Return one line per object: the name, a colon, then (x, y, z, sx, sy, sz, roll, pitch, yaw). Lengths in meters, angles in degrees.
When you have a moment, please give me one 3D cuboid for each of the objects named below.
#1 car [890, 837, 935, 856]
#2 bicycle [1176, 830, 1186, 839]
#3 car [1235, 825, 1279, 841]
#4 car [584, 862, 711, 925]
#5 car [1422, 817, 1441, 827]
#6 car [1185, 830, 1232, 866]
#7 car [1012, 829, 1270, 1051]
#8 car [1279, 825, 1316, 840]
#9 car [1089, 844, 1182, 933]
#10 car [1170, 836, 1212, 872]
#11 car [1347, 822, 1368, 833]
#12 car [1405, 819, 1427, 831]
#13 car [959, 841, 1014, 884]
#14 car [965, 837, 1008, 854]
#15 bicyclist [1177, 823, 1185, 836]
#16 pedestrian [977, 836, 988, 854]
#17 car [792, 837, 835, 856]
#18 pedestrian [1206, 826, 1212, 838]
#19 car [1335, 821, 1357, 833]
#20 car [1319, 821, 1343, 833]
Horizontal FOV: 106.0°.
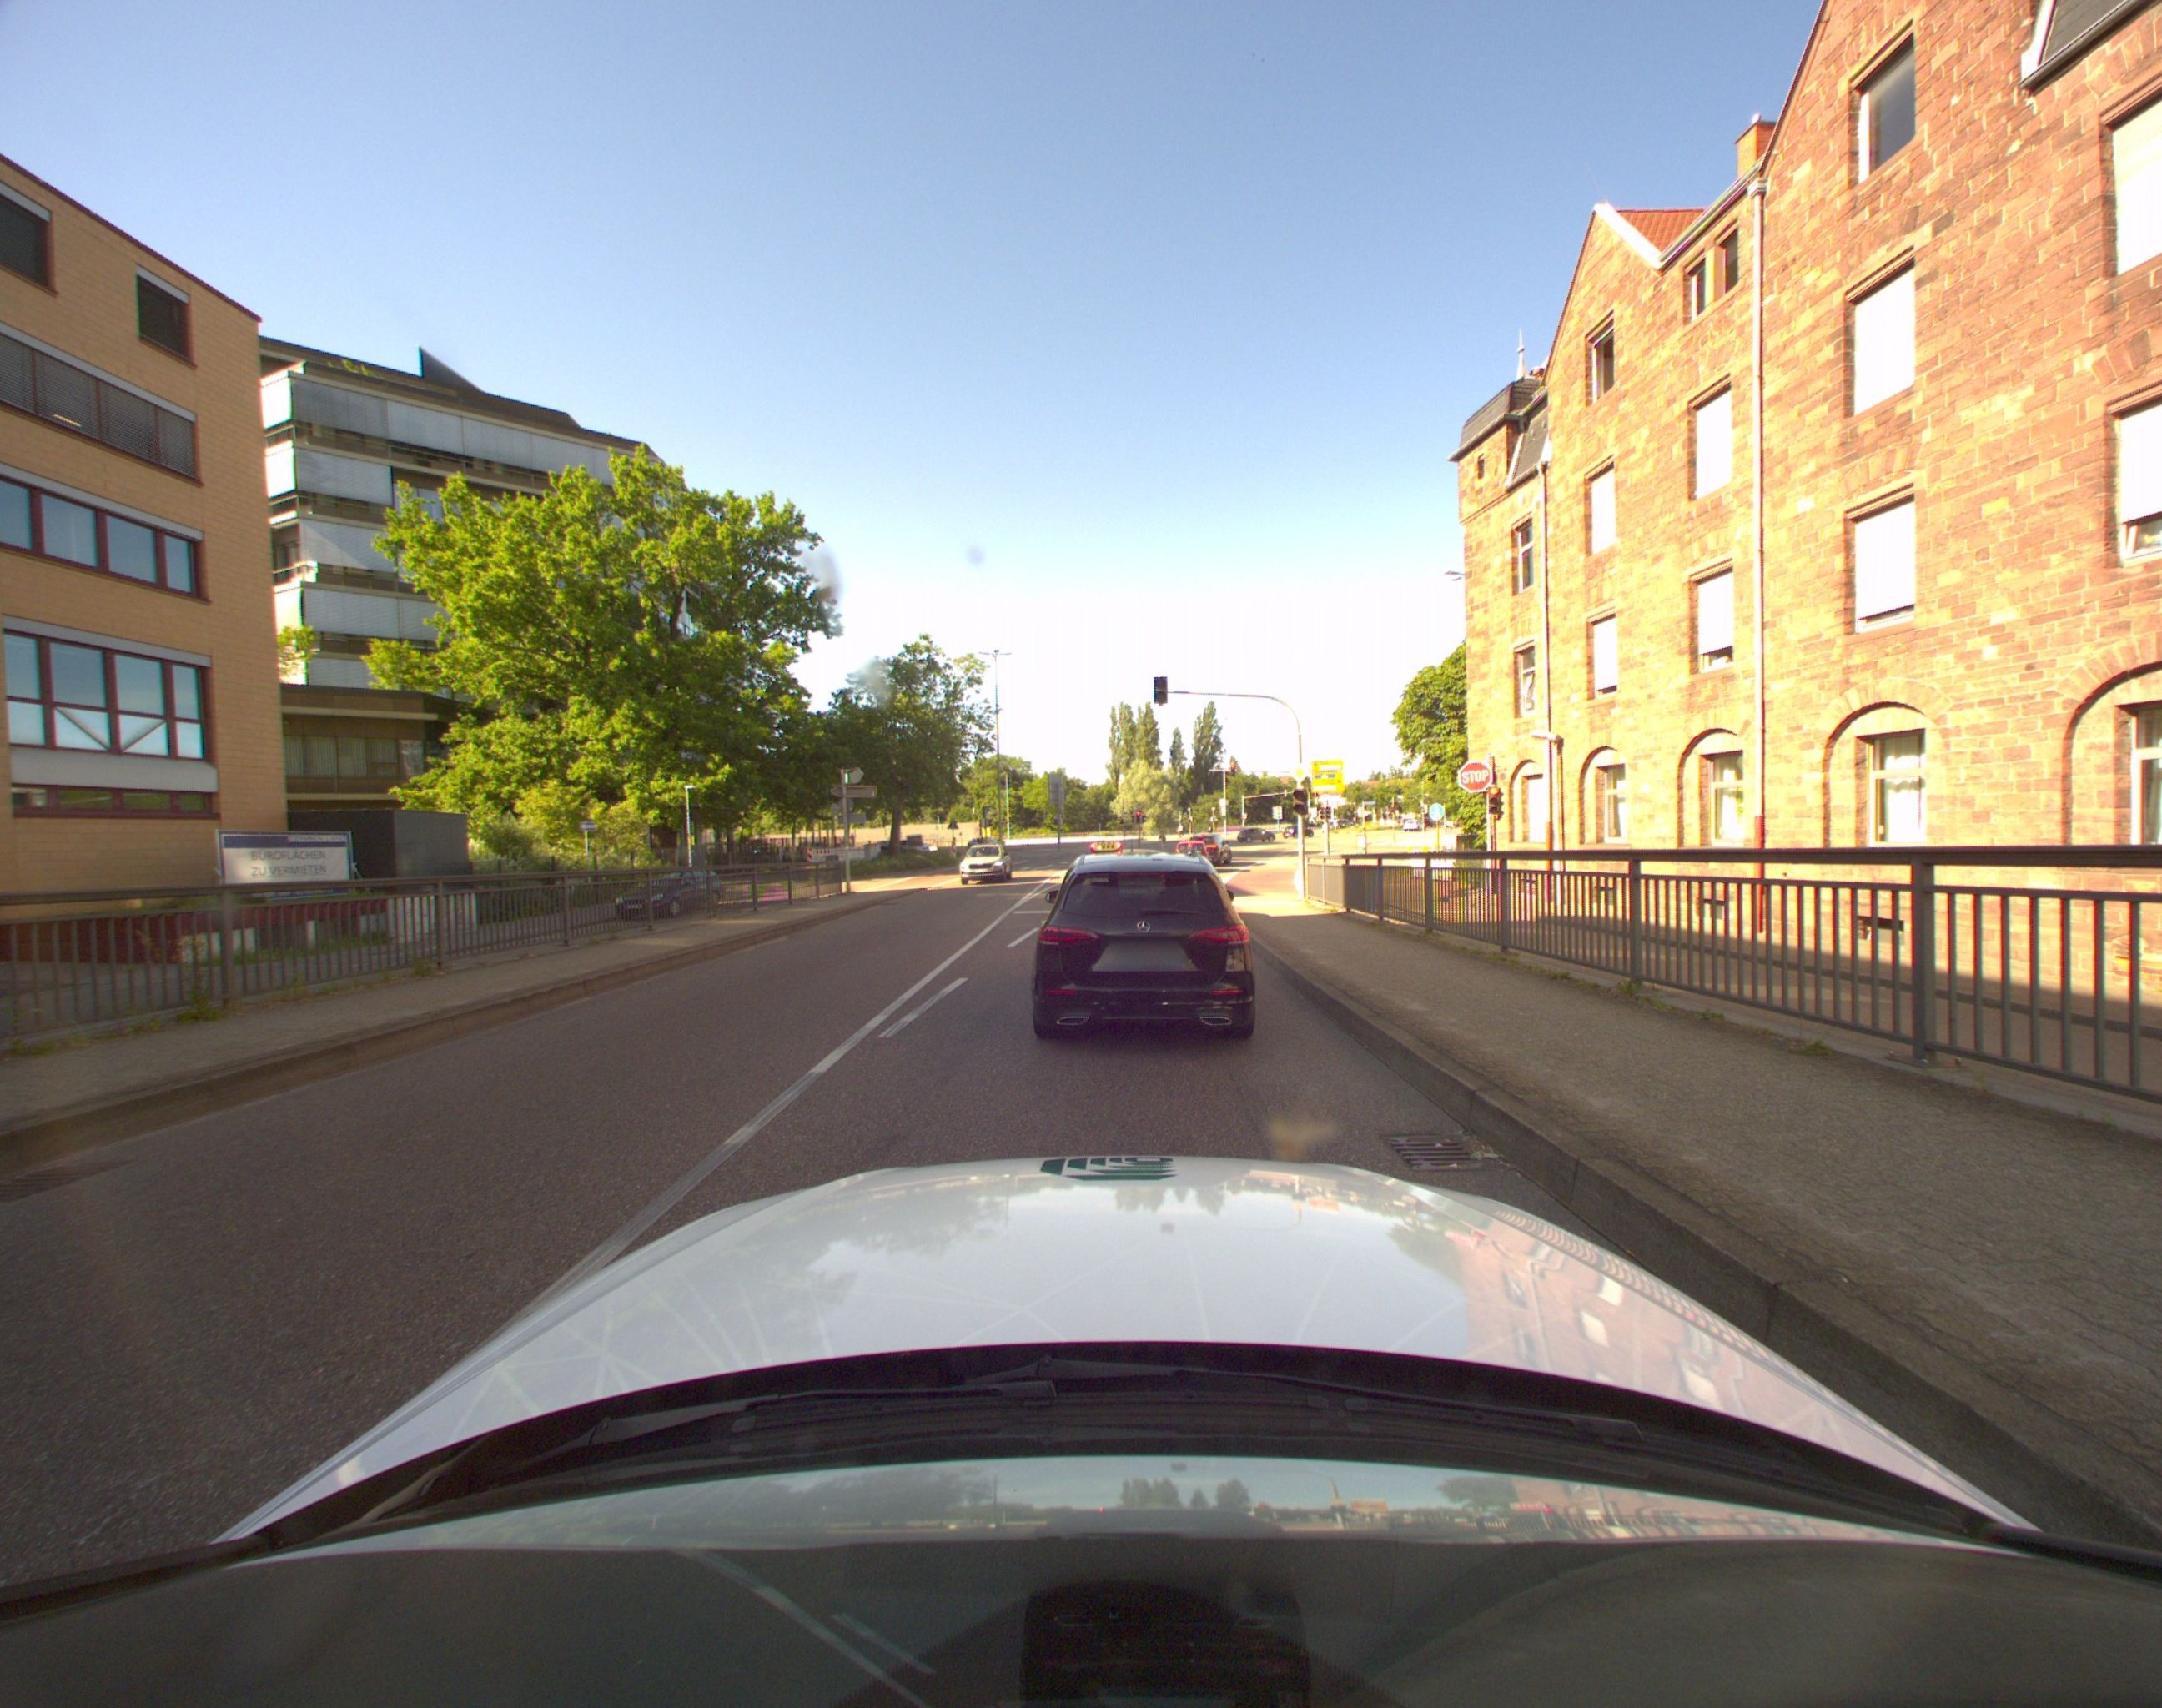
car: (-16.285, -0.742, 78.664, 3.948, 1.635, 1.795, -1, 3, 32)
bicycle: (12.136, -2.383, 98.706, 0.520, 1.050, 2.002, -2, 1, 29)
car: (17.823, -2.125, 82.560, 3.989, 1.498, 1.738, -1, 0, -12)
car: (-13.952, 1.209, 26.506, 1.844, 1.692, 4.002, -2, 2, 2)
car: (54.125, -4.956, 125.737, 1.862, 1.294, 4.625, -1, 3, 33)
car: (7.100, -0.363, 45.063, 1.707, 1.811, 4.319, -2, 2, 20)
car: (0.499, 0.609, 7.953, 1.871, 1.613, 4.002, 0, 0, 2)
car: (24.484, -2.400, 92.141, 4.015, 1.547, 1.871, 0, -1, -33)
car: (1.130, 0.611, 16.762, 1.632, 1.529, 3.478, -3, 1, 4)
car: (5.361, -0.032, 39.405, 1.710, 1.521, 3.499, -1, 3, 13)
car: (43.202, -4.203, 127.142, 1.860, 1.578, 4.026, -1, 2, 38)
car: (42.871, -3.732, 104.193, 1.974, 1.365, 4.342, -1, 3, 29)
car: (-3.950, 0.318, 34.473, 1.798, 1.623, 3.999, -3, 1, 0)
car: (-9.715, -0.909, 83.723, 3.950, 1.629, 1.902, -1, 1, 25)
bicyclist: (12.119, -2.926, 98.685, 0.520, 1.551, 0.812, -2, 1, 29)
pedestrian: (-8.297, -0.781, 68.395, 0.700, 1.525, 0.746, -1, 1, 12)
car: (-28.711, -0.798, 87.423, 4.835, 1.794, 1.937, -2, 2, 38)
pedestrian: (17.687, -3.045, 112.507, 0.446, 1.585, 0.504, -2, 1, 42)
car: (38.778, -4.006, 119.179, 1.860, 1.578, 4.026, -1, 2, 38)
car: (35.079, -3.757, 114.106, 1.860, 1.578, 4.026, -1, 2, 38)
